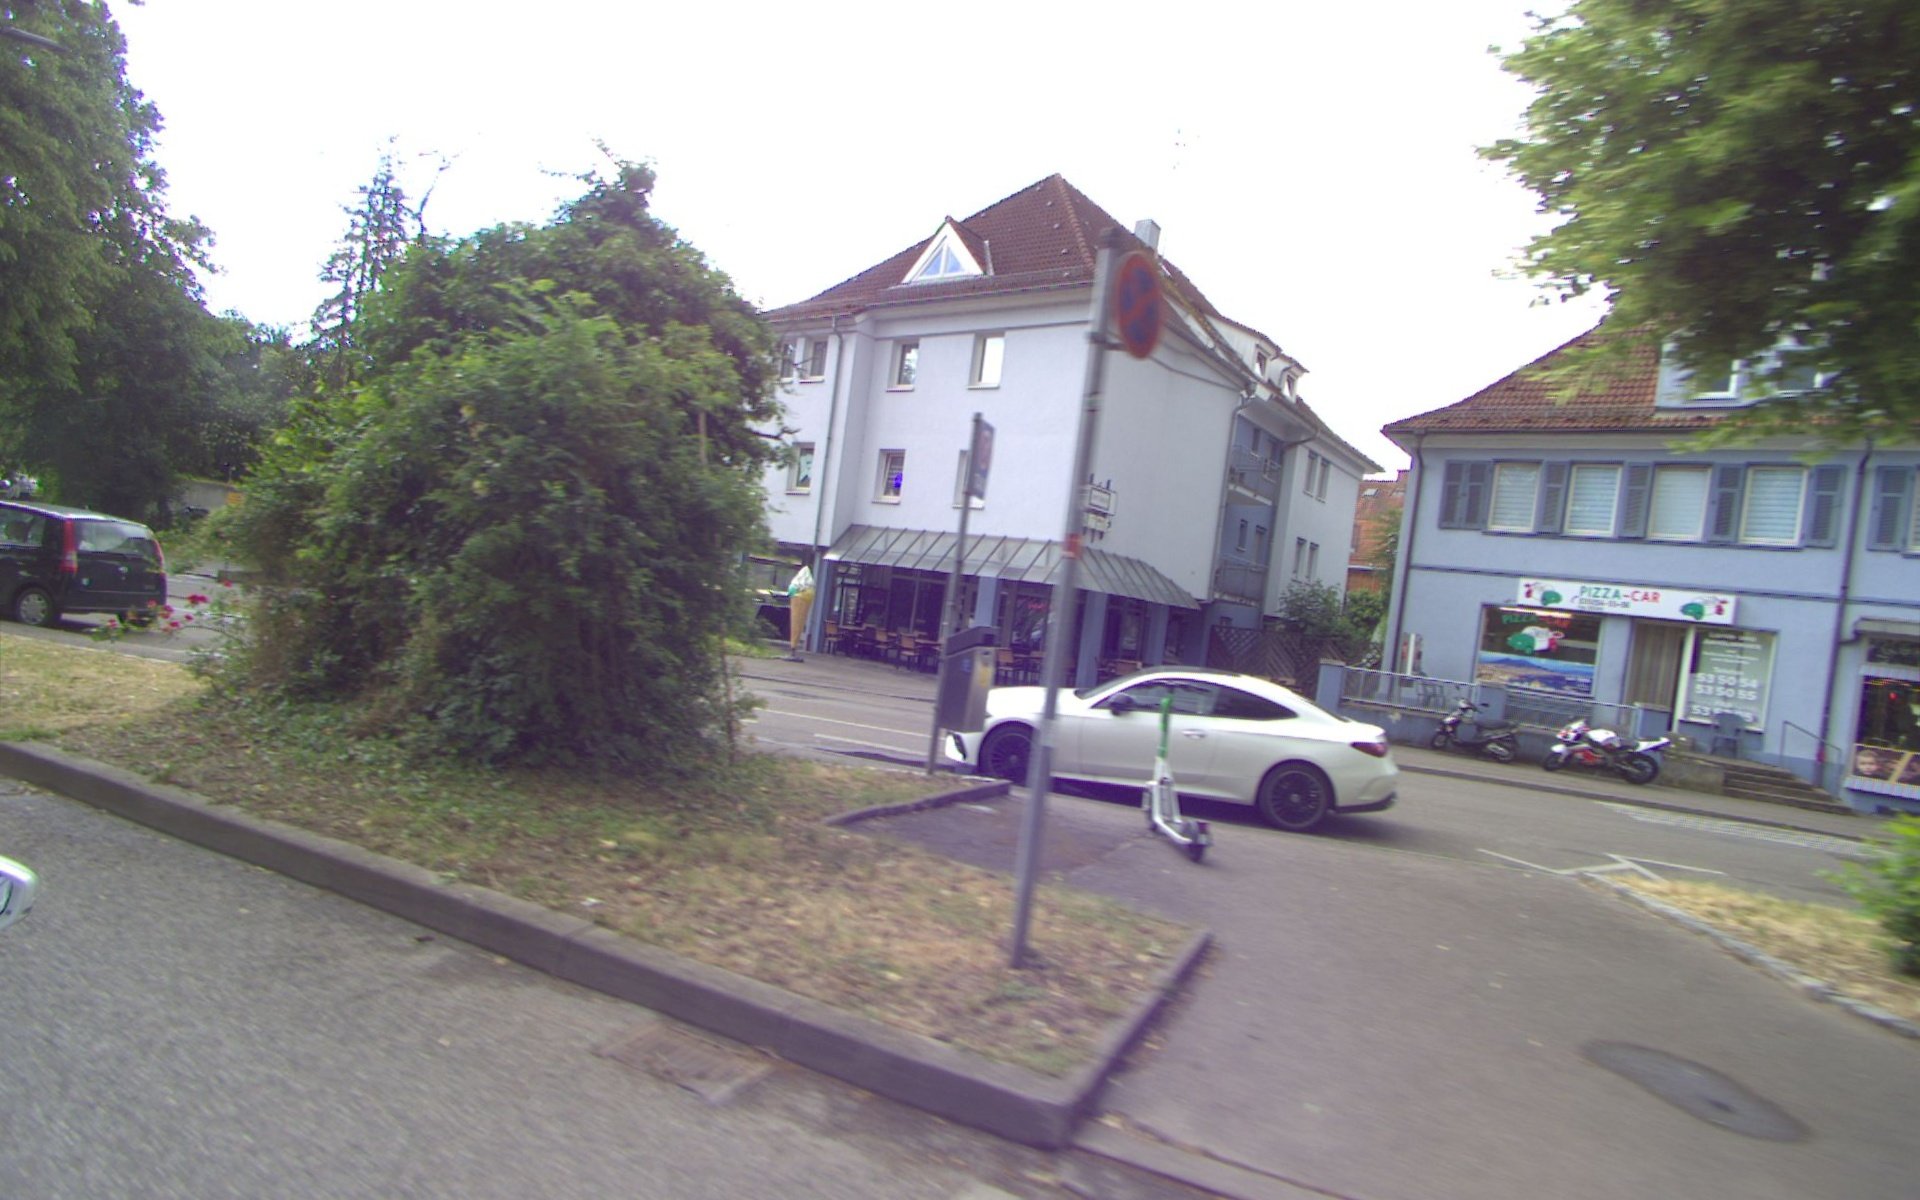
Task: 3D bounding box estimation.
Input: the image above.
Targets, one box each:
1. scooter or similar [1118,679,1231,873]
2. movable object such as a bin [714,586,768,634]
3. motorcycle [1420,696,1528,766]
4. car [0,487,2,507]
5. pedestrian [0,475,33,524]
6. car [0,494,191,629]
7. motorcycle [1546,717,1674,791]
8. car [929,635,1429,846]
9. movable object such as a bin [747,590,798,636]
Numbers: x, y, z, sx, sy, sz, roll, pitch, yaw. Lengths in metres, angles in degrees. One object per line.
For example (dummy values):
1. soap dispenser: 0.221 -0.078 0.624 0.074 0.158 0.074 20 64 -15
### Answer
1. scooter or similar: 1.511 1.205 7.269 0.405 1.180 1.364 7 -2 1
2. movable object such as a bin: -7.322 0.336 33.636 1.145 1.412 1.211 7 1 43
3. motorcycle: 9.863 2.497 19.360 1.692 1.044 0.490 7 1 18
4. car: -23.524 -2.094 21.988 1.737 1.397 4.249 8 -1 -14
5. pedestrian: -33.292 -3.536 35.427 0.730 1.570 0.684 8 1 33
6. car: -12.141 -0.595 12.824 3.429 1.421 1.573 8 0 5
7. motorcycle: 11.822 2.787 18.348 1.789 0.998 0.522 7 1 18
8. car: 2.227 1.381 10.914 4.696 1.403 2.001 7 0 9
9. movable object such as a bin: -6.442 0.452 34.594 1.080 1.412 1.211 7 1 43
